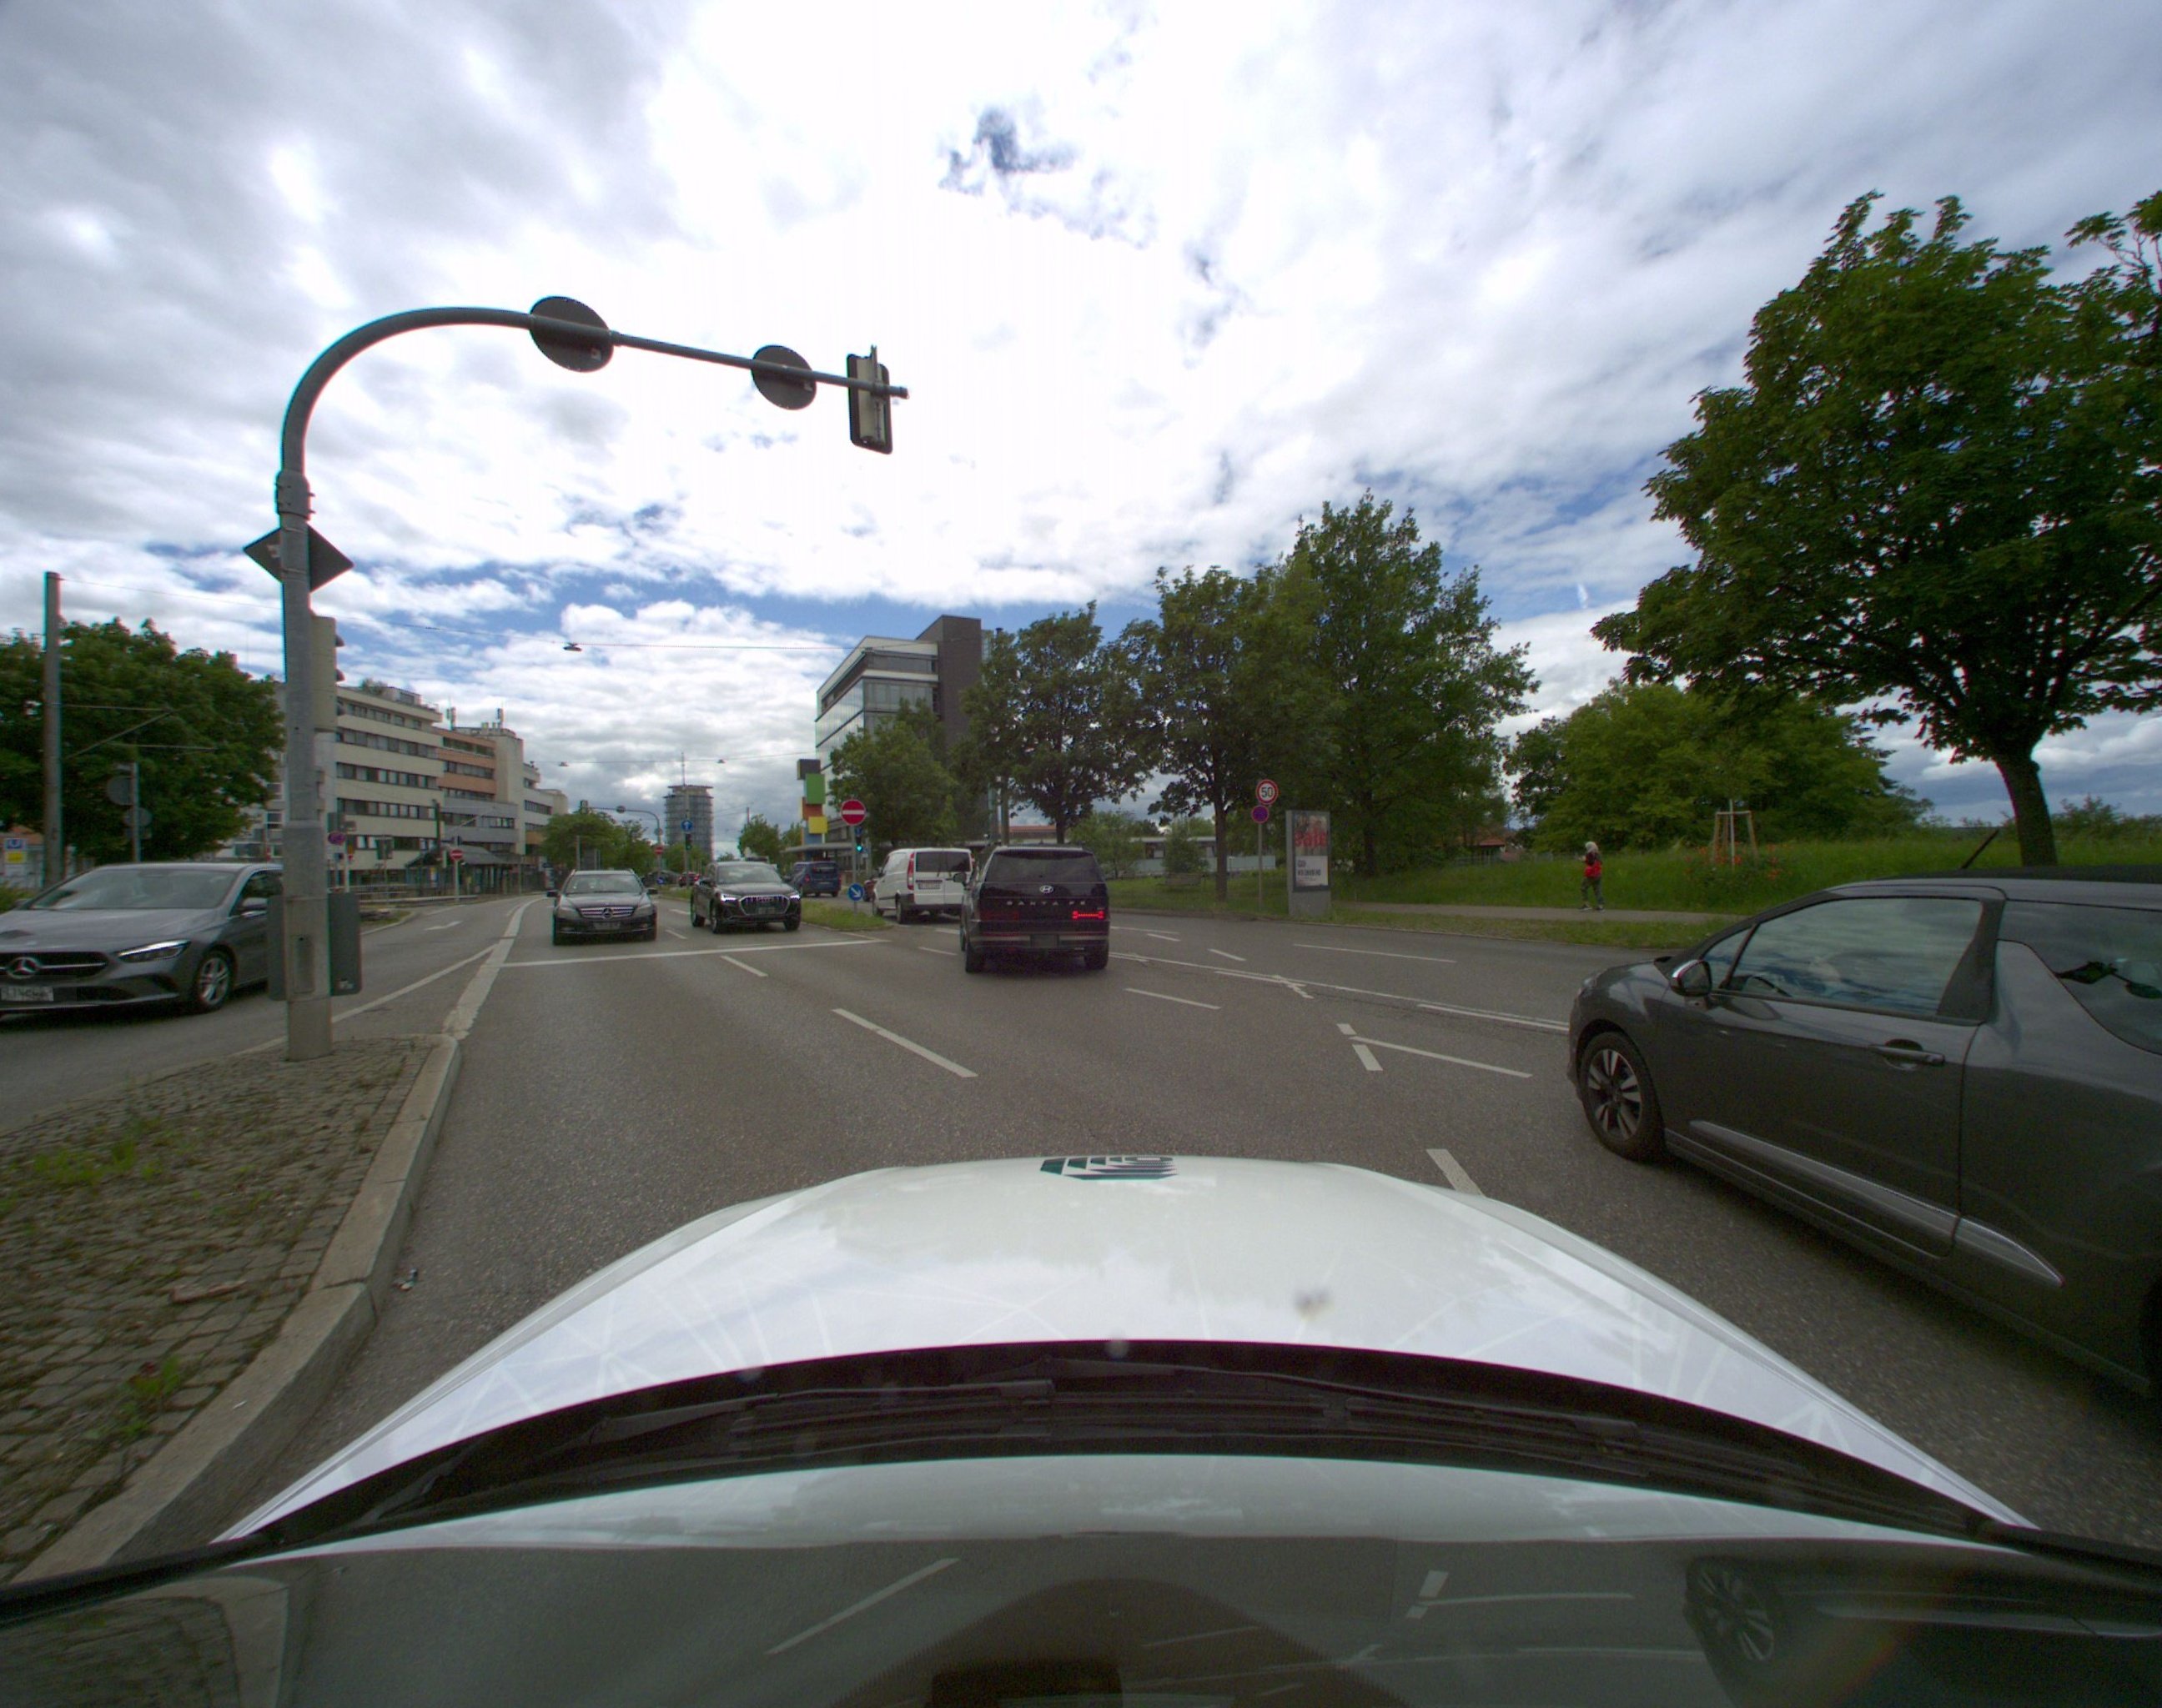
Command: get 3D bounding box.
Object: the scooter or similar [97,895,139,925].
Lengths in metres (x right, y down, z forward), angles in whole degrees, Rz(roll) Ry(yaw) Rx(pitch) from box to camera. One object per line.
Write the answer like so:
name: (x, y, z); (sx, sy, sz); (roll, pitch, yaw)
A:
scooter or similar: (-36.554, 2.117, 30.926); (0.491, 1.045, 1.168); (0, -1, -19)

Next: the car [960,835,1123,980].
car: (-0.783, 0.664, 12.077); (1.902, 1.731, 4.431); (0, -1, -10)

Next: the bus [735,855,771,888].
bus: (-34.987, 1.890, 86.690); (2.981, 3.116, 9.166); (-3, -1, -25)

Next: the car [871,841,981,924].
car: (-4.286, 0.714, 21.917); (1.911, 1.969, 4.599); (0, -1, -24)

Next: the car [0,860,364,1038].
car: (-10.077, 0.840, 9.157); (1.791, 1.537, 4.360); (0, 0, -24)

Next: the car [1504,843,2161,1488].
car: (3.381, 0.721, 3.070); (1.693, 1.461, 4.066); (0, -1, 4)

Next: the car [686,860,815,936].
car: (-7.890, 0.933, 19.220); (1.902, 1.564, 4.348); (0, 0, -35)

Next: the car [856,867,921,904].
car: (-8.410, 1.323, 35.347); (1.756, 1.481, 3.682); (0, -1, -30)

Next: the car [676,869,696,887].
car: (-42.872, 2.555, 88.407); (1.912, 1.859, 4.668); (0, -1, -26)

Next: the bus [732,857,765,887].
bus: (-39.003, 2.126, 95.222); (2.967, 3.111, 9.892); (-3, -1, -25)

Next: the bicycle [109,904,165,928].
bicycle: (-34.950, 2.302, 30.164); (1.266, 0.805, 0.420); (-1, -1, -31)

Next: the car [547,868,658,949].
car: (-10.164, 1.035, 17.182); (1.795, 1.426, 4.350); (0, 0, -33)

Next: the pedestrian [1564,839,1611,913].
pedestrian: (11.487, 0.484, 18.474); (0.545, 1.603, 0.695); (-6, 3, -34)

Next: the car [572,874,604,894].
car: (-38.308, 2.318, 63.361); (1.809, 1.455, 4.570); (-1, -1, -28)

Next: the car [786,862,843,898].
car: (-14.387, 1.359, 43.774); (1.914, 1.859, 4.662); (0, -1, -31)

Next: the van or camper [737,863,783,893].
van or camper: (-22.451, 1.613, 56.839); (2.009, 1.918, 4.361); (0, 0, -36)
